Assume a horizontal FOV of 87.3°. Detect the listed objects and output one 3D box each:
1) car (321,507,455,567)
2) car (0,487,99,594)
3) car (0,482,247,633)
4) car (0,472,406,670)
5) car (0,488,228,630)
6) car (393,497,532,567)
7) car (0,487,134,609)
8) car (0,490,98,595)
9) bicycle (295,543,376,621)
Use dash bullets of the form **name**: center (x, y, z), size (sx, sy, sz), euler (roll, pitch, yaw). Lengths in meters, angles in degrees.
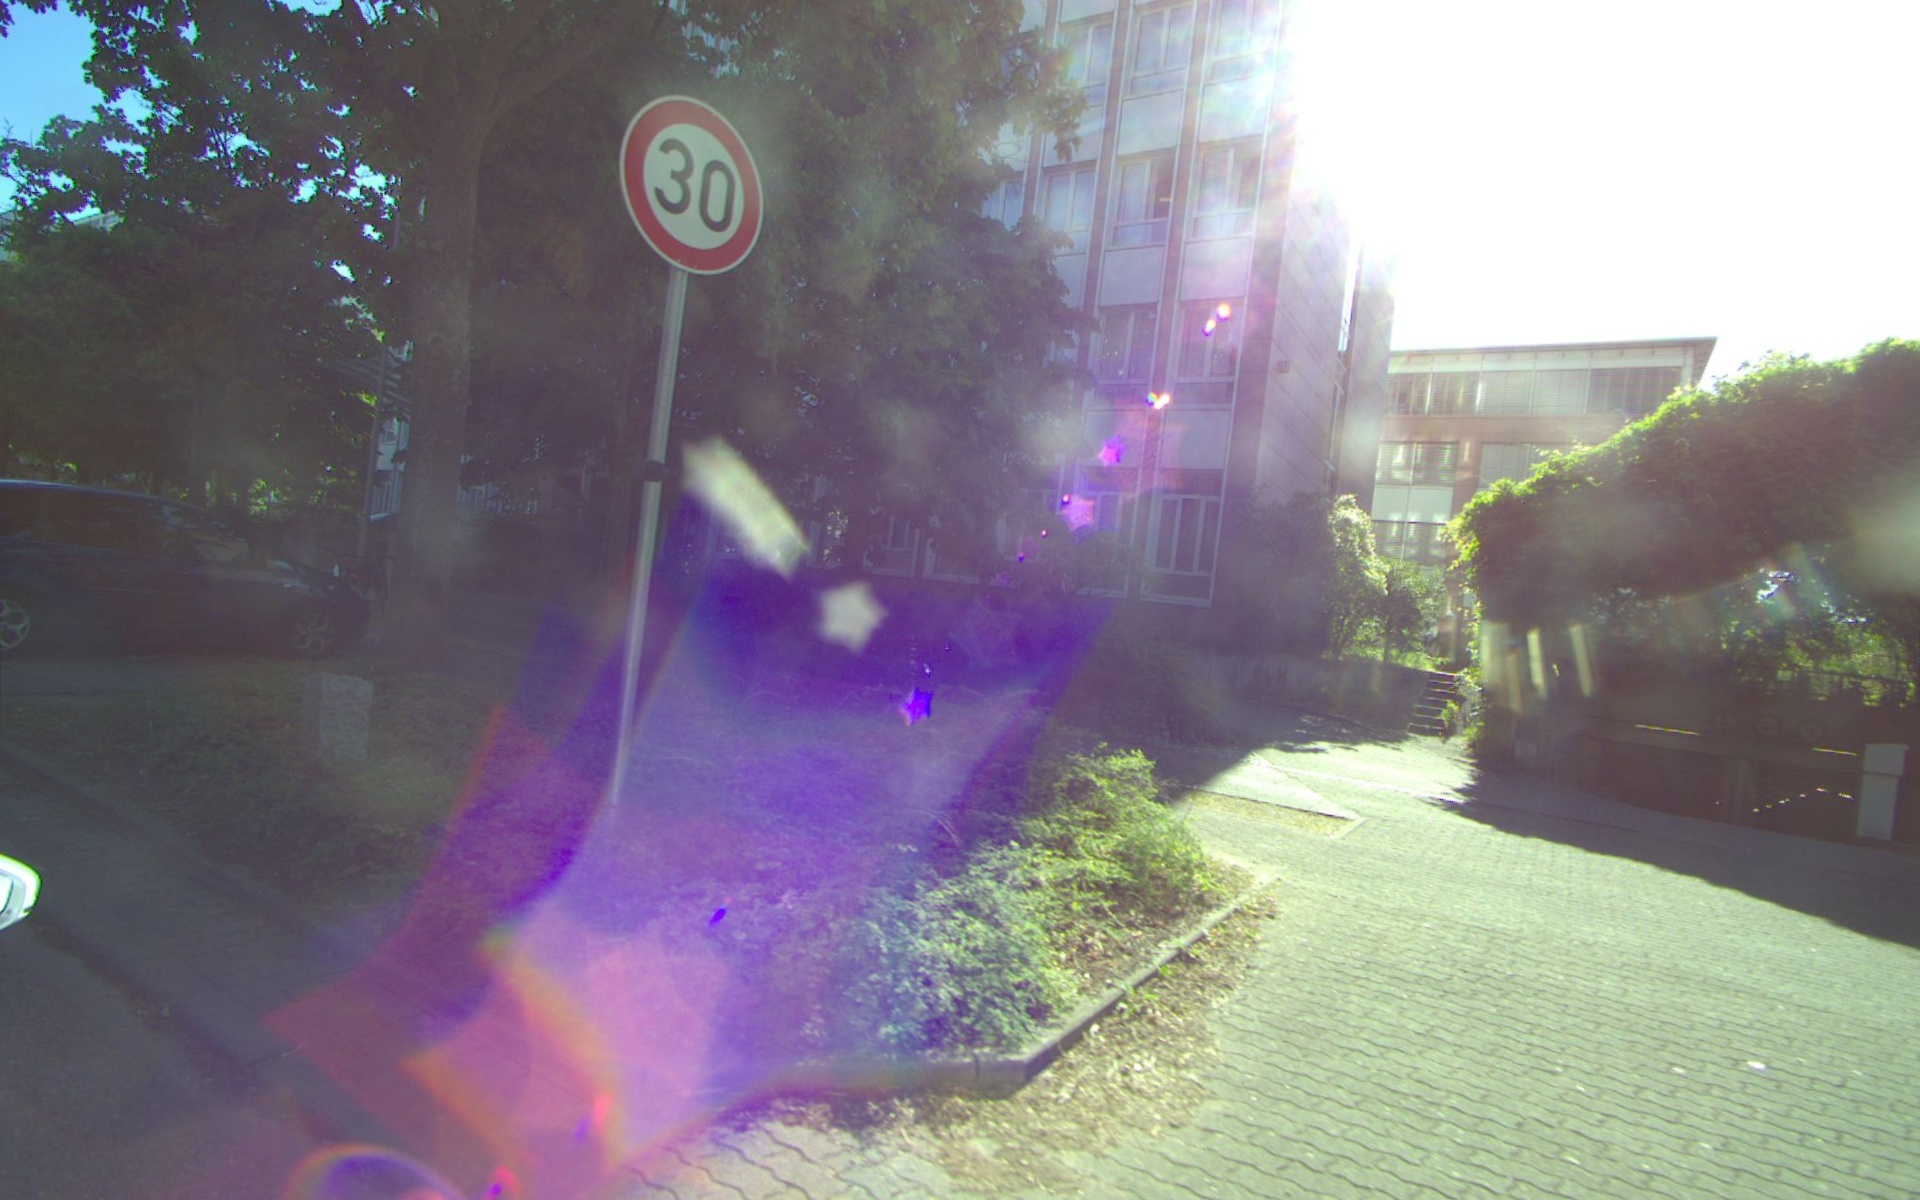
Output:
- **car**: center (-23.759, -2.589, 41.948), size (1.965, 1.690, 4.314), euler (6, -3, 28)
- **car**: center (-15.330, -1.054, 14.571), size (1.934, 1.486, 3.870), euler (6, -1, 32)
- **car**: center (-11.057, -0.568, 11.809), size (1.864, 1.545, 3.887), euler (6, -1, 32)
- **car**: center (-8.267, -0.247, 10.141), size (1.826, 1.653, 4.275), euler (6, -1, 29)
- **car**: center (-11.204, -0.556, 11.804), size (1.879, 1.485, 3.743), euler (6, 0, 33)
- **car**: center (-18.330, -2.476, 37.244), size (1.965, 1.802, 4.085), euler (6, -3, 28)
- **car**: center (-13.231, -0.804, 12.934), size (1.606, 1.485, 3.638), euler (6, 0, 32)
- **car**: center (-15.256, -1.004, 14.550), size (1.848, 1.467, 3.758), euler (6, 0, 29)
- **bicycle**: center (-9.758, -0.292, 15.687), size (1.856, 1.060, 0.378), euler (6, 1, 37)
